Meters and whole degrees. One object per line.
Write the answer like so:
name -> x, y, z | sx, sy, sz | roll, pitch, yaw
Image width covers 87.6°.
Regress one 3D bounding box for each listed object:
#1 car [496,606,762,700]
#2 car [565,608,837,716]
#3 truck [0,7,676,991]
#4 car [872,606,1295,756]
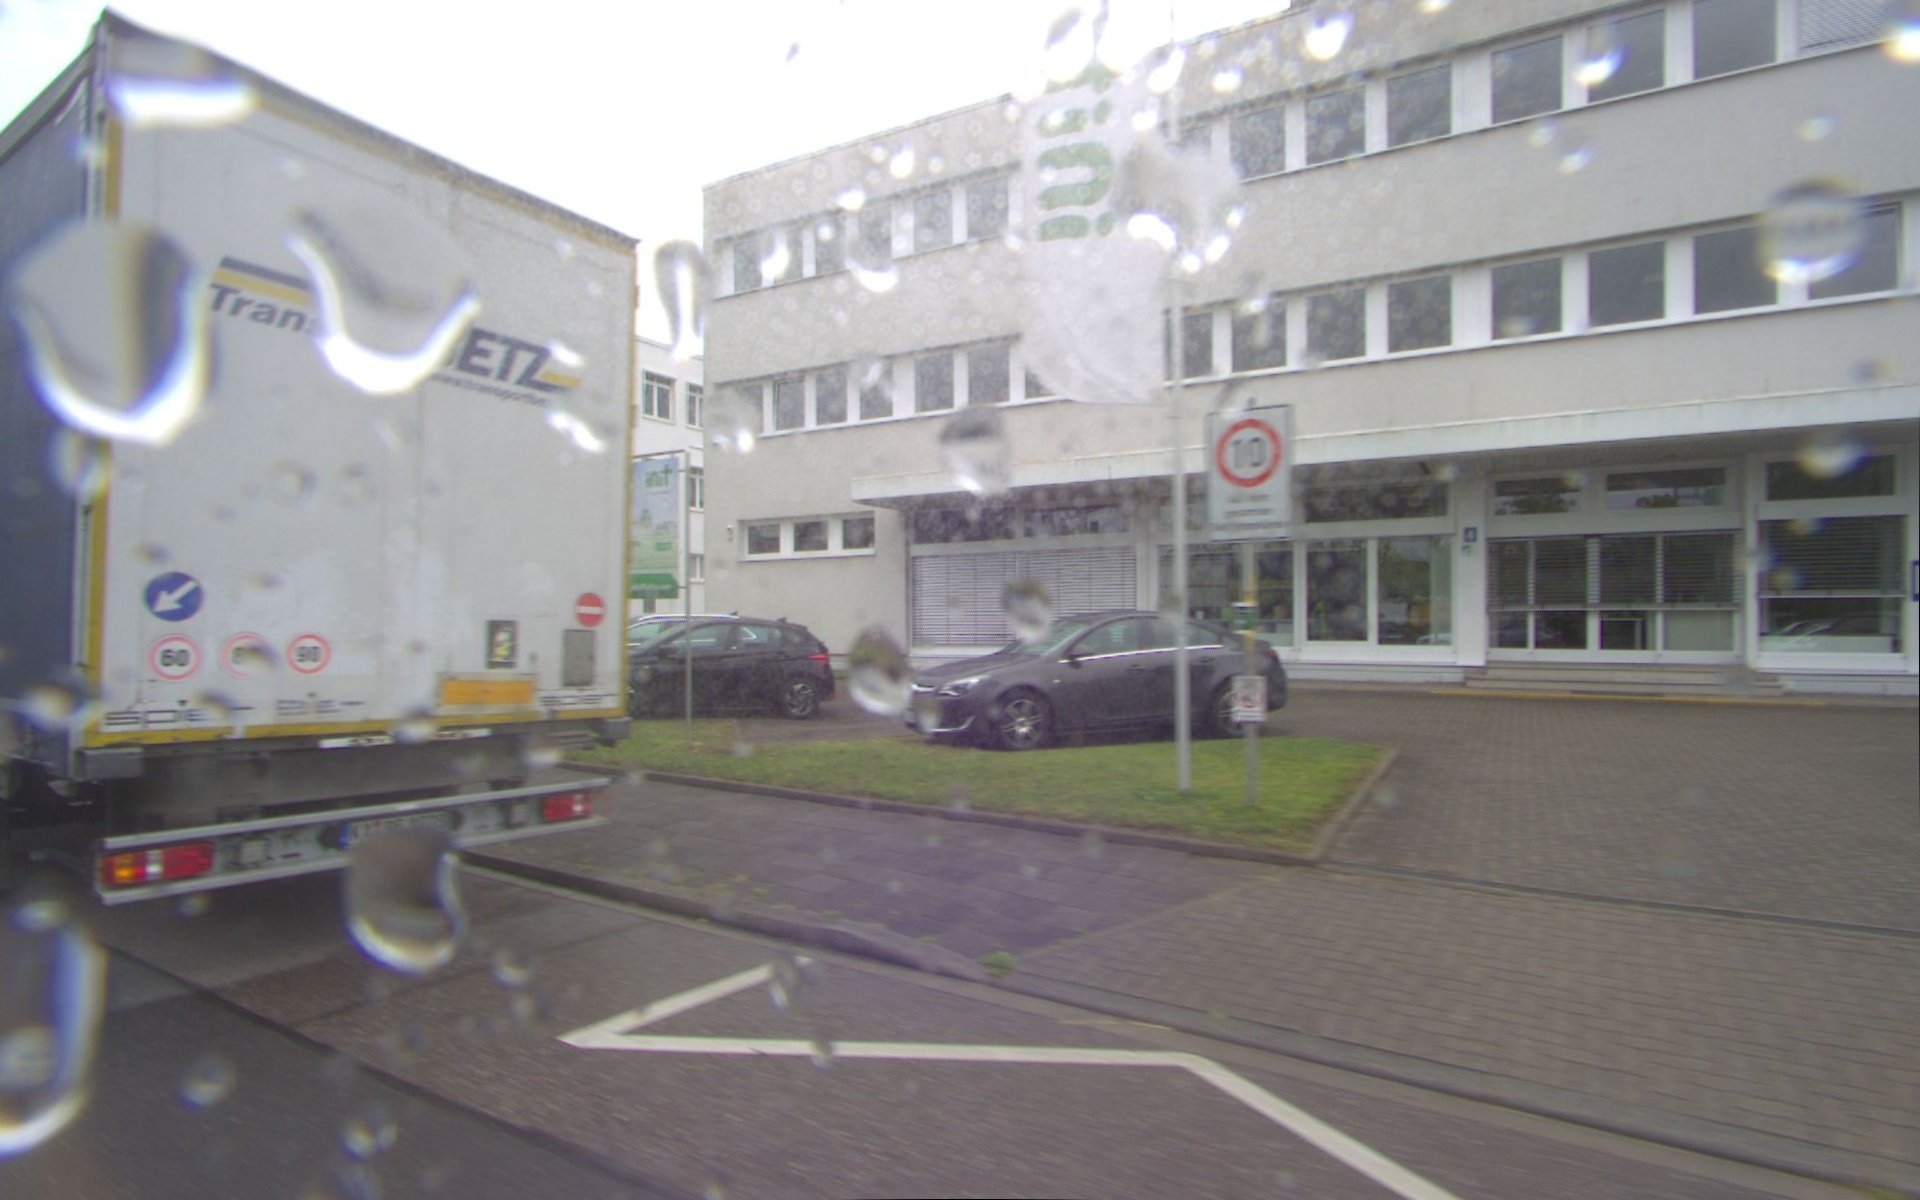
car -> -5.550, 0.894, 17.079 | 4.079, 1.434, 1.686 | 2, 1, -19
car -> -3.897, 0.932, 15.139 | 3.717, 1.414, 1.723 | 3, -2, -19
truck -> -5.645, -0.270, 7.012 | 7.644, 3.656, 2.736 | -1, -3, 35
car -> 1.440, 0.830, 11.654 | 4.598, 1.487, 1.786 | 0, -1, -21
